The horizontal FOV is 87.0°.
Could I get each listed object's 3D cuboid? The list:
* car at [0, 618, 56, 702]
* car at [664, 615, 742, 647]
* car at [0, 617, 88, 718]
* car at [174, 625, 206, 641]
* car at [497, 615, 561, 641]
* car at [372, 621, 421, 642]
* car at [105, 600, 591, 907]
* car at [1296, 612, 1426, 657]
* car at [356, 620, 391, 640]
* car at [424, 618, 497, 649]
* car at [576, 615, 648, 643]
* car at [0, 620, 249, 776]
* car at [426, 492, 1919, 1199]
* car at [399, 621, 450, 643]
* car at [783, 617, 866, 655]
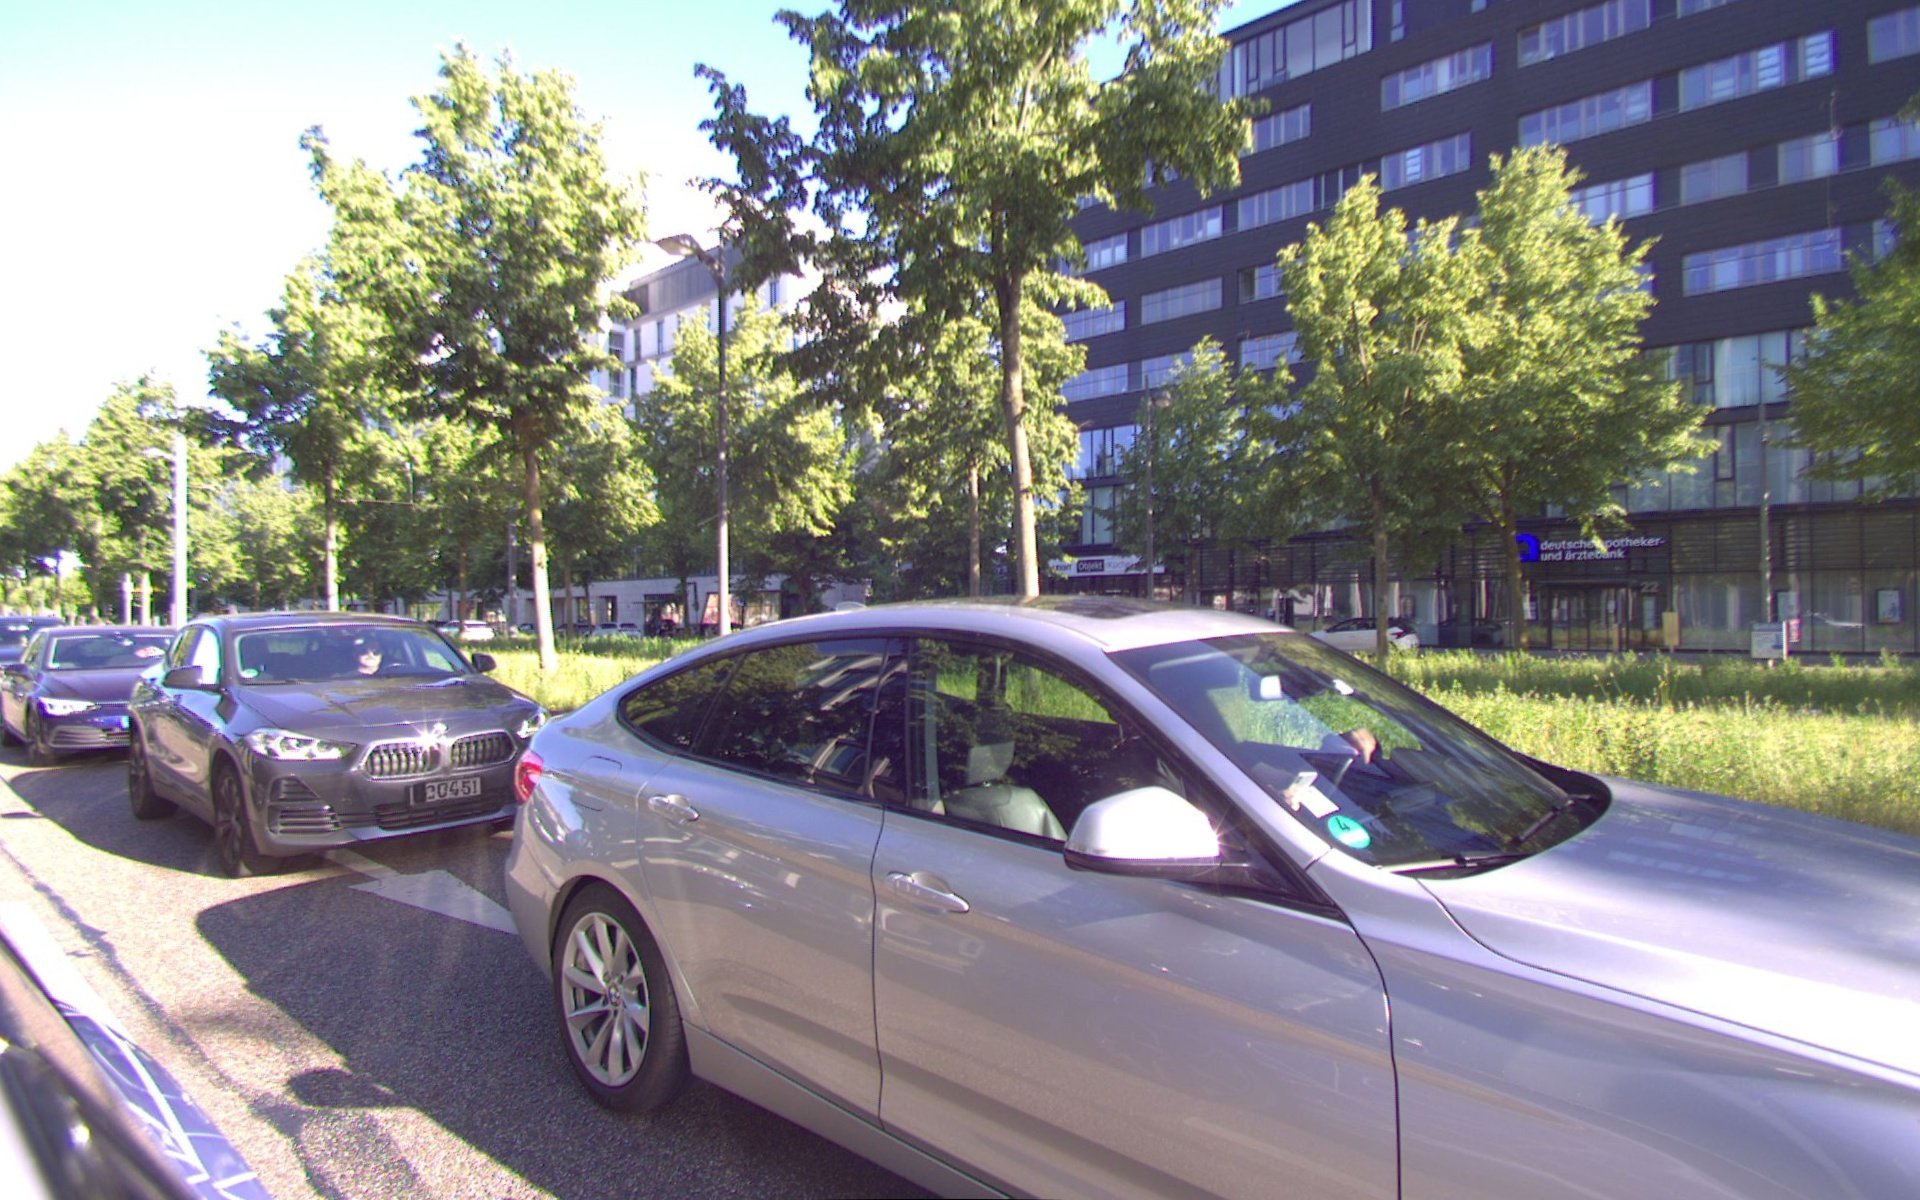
[{"bbox_3d":[-21.597,1.272,22.182,4.788,1.711,1.986,-1,-1,40],"label":"car"},{"bbox_3d":[-14.337,1.706,56.340,4.790,1.697,1.834,-1,-1,41],"label":"car"},{"bbox_3d":[-16.777,1.121,17.743,4.164,1.602,1.788,-1,-1,42],"label":"car"},{"bbox_3d":[-74.204,3.166,97.522,3.998,1.403,1.644,-1,-1,41],"label":"car"},{"bbox_3d":[-29.728,1.906,69.816,4.785,1.711,1.988,-1,-1,38],"label":"car"},{"bbox_3d":[-47.364,2.621,85.011,4.788,1.711,1.986,-1,-1,40],"label":"car"},{"bbox_3d":[-4.444,0.810,7.092,4.027,1.534,1.789,-1,-1,41],"label":"car"},{"bbox_3d":[14.452,1.226,36.613,4.001,1.516,1.733,-2,-1,44],"label":"car"},{"bbox_3d":[-51.077,2.610,88.099,3.741,1.682,1.581,-1,-1,41],"label":"car"},{"bbox_3d":[-26.366,1.774,53.365,4.733,1.549,1.834,-1,-1,41],"label":"car"},{"bbox_3d":[-21.756,1.797,63.242,4.785,1.711,1.988,-1,-1,38],"label":"car"},{"bbox_3d":[-9.843,0.978,11.677,4.253,1.465,1.789,-1,-1,42],"label":"car"},{"bbox_3d":[0.489,0.665,2.728,4.739,1.500,1.790,-1,-1,40],"label":"car"},{"bbox_3d":[-42.979,2.549,81.209,4.788,1.711,1.986,-1,-1,40],"label":"car"},{"bbox_3d":[-6.621,1.739,49.233,3.998,1.762,1.834,-1,-1,41],"label":"car"}]
